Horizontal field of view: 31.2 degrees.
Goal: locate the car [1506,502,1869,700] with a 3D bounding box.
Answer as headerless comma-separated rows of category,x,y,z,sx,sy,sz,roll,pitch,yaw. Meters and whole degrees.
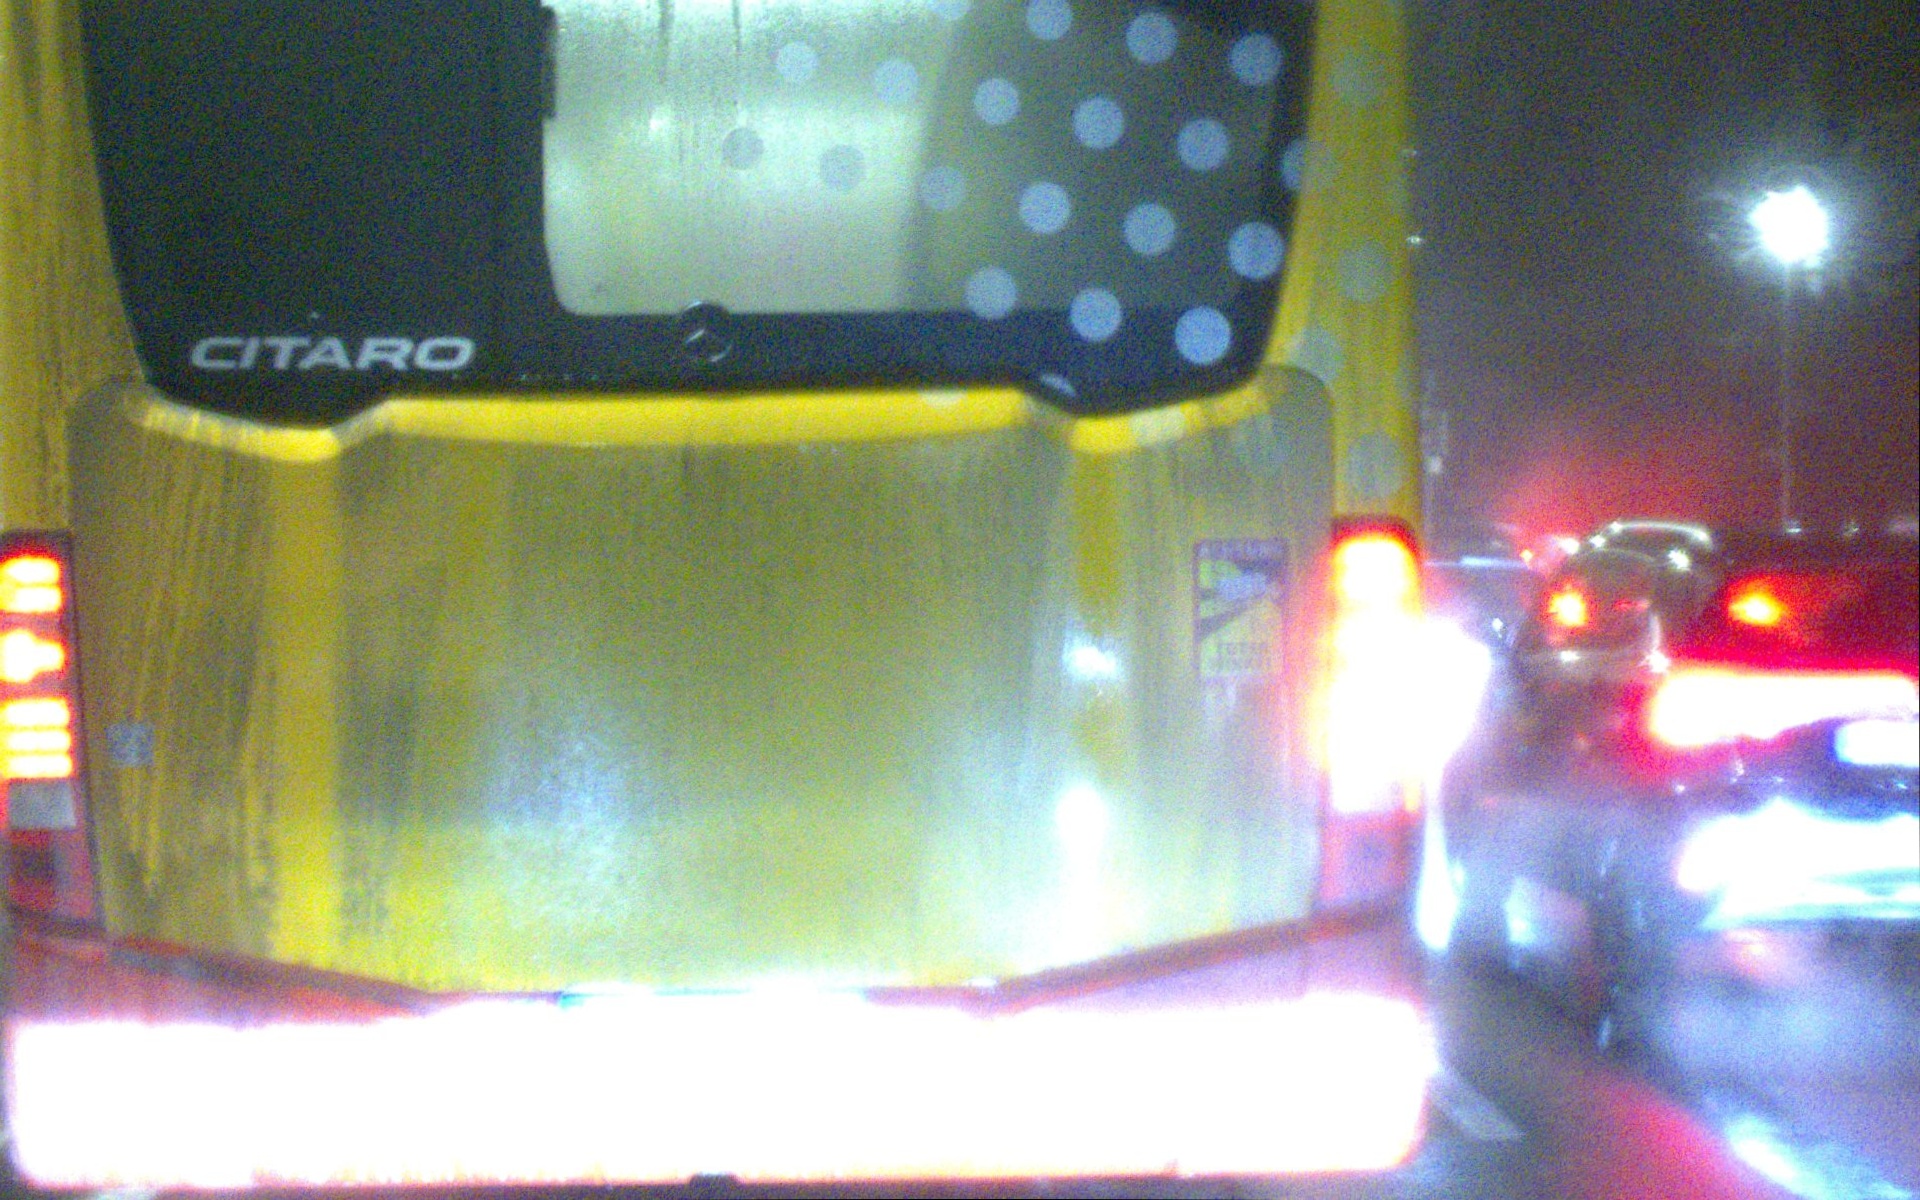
car,6.064,-0.017,29.192,1.993,1.475,4.339,3,1,-1

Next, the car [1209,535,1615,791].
car,2.557,0.325,20.328,1.686,1.326,3.961,-1,0,-3

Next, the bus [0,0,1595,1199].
bus,-0.810,-0.318,10.248,3.285,3.039,9.546,0,2,-2

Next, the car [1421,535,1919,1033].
car,2.896,0.551,12.537,1.677,1.516,3.961,1,1,-3
